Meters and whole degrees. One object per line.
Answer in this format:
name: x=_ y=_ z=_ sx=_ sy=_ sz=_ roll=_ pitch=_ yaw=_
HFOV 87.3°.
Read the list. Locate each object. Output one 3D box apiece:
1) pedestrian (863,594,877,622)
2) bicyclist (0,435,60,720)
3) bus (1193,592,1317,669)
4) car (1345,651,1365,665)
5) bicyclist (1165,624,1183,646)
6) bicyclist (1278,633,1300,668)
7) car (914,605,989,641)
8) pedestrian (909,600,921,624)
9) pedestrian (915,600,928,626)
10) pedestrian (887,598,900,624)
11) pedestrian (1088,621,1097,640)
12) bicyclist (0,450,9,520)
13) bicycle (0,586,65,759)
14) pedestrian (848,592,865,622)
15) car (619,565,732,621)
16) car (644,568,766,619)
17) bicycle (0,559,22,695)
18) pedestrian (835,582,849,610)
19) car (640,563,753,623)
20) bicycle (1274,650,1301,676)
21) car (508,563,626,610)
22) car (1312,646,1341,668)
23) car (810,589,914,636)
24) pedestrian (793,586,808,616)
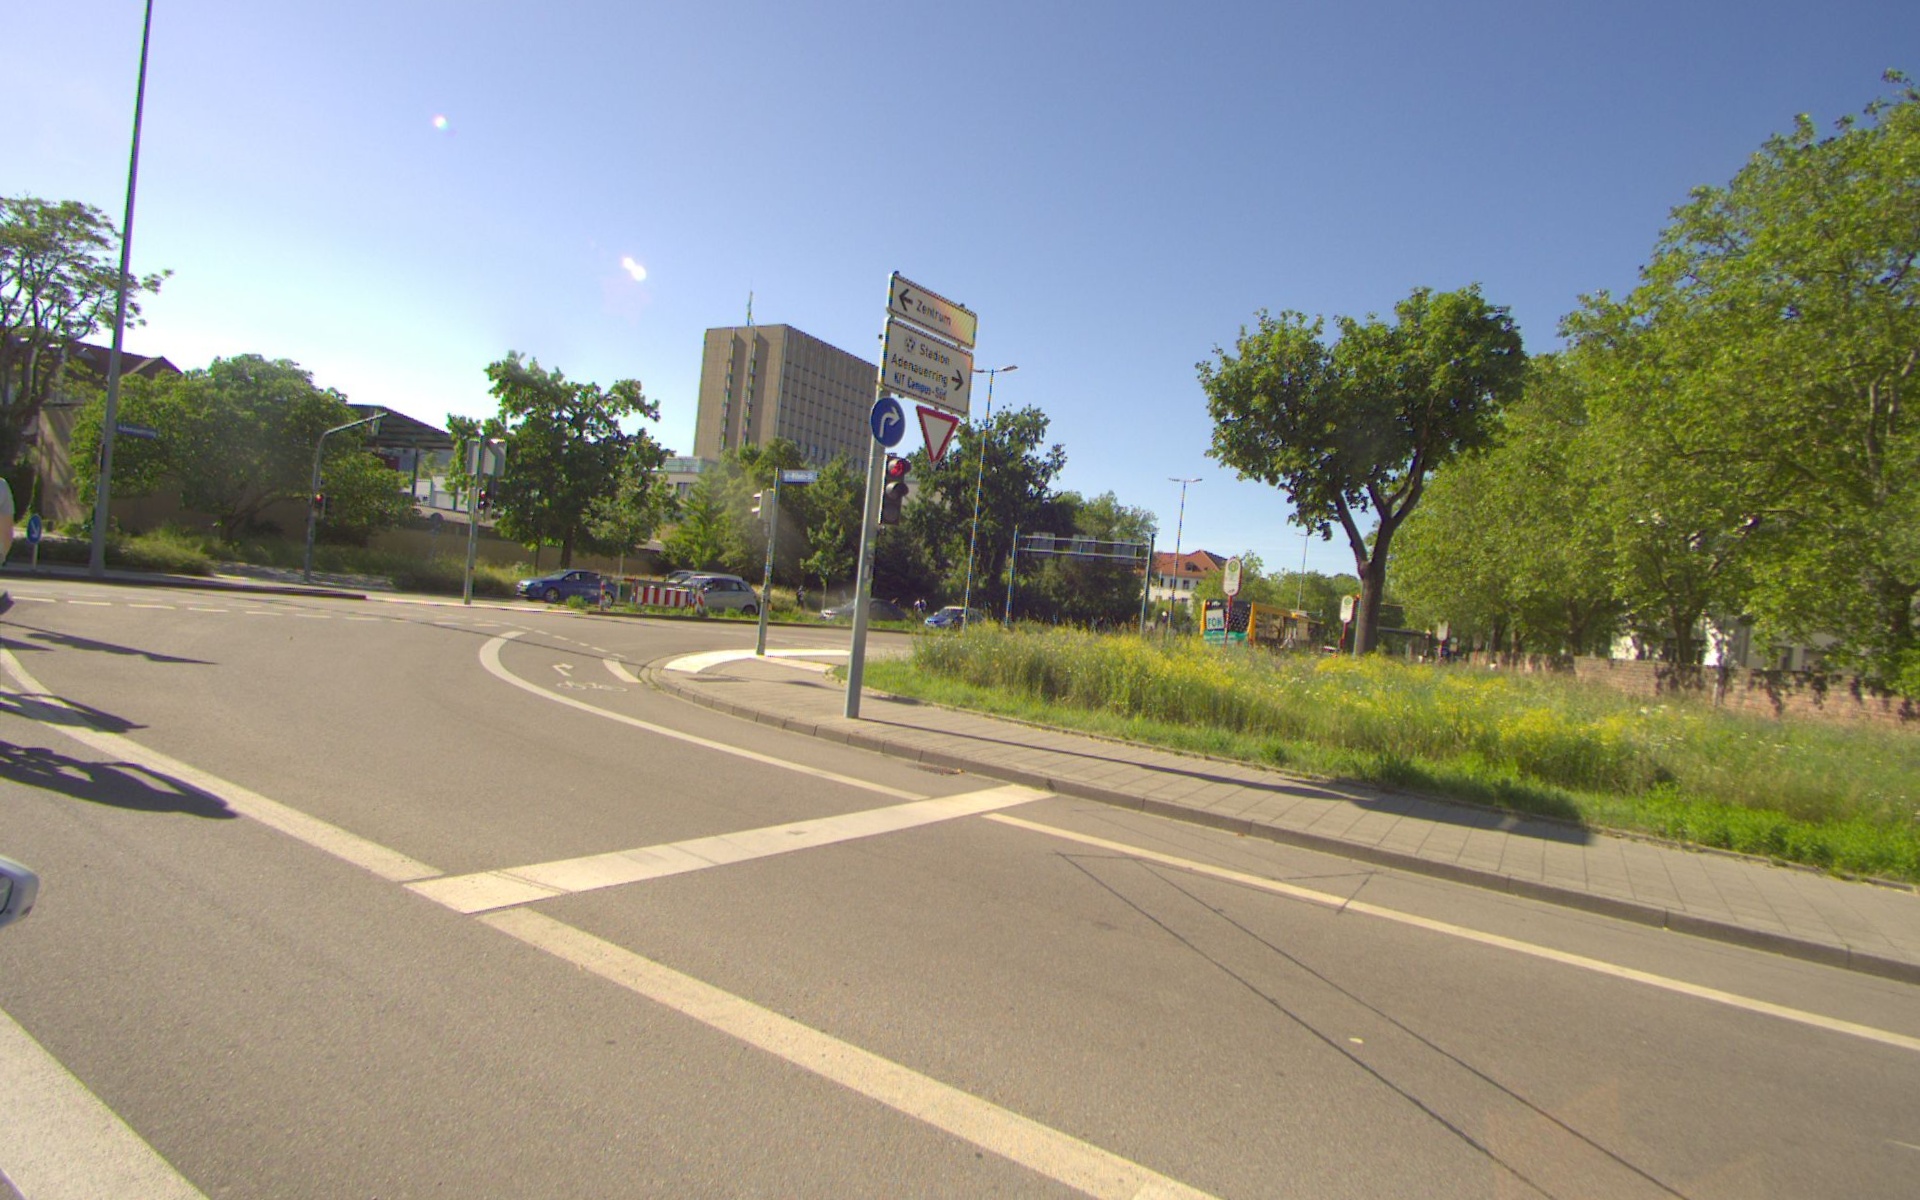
pedestrian: x=-6.079 y=0.519 z=67.918 sx=0.519 sy=1.801 sz=0.561 roll=7 pitch=1 yaw=35
bicyclist: x=-6.219 y=-0.189 z=6.094 sx=1.000 sy=1.688 sz=0.752 roll=6 pitch=-1 yaw=33
bus: x=14.512 y=1.621 z=48.764 sx=2.751 sy=2.662 sz=10.097 roll=6 pitch=-2 yaw=33
car: x=48.546 y=7.140 z=123.580 sx=1.812 sy=1.405 sz=4.066 roll=4 pitch=-2 yaw=27
bicyclist: x=17.129 y=2.783 z=80.353 sx=0.778 sy=1.649 sz=1.315 roll=7 pitch=1 yaw=36
bicyclist: x=13.794 y=2.123 z=42.113 sx=0.509 sy=1.368 sz=1.002 roll=7 pitch=1 yaw=32
car: x=-0.373 y=1.178 z=50.475 sx=1.757 sy=1.448 sz=3.989 roll=6 pitch=0 yaw=33
pedestrian: x=-3.271 y=0.880 z=72.936 sx=0.519 sy=1.716 sz=0.561 roll=7 pitch=1 yaw=35
pedestrian: x=-2.764 y=0.961 z=72.401 sx=0.519 sy=1.801 sz=0.561 roll=7 pitch=1 yaw=35
pedestrian: x=-4.707 y=0.779 z=70.954 sx=0.519 sy=1.801 sz=0.561 roll=7 pitch=1 yaw=35
pedestrian: x=12.749 y=2.920 z=96.897 sx=0.519 sy=1.801 sz=0.562 roll=7 pitch=1 yaw=30
bicyclist: x=-8.133 y=-0.370 z=7.784 sx=1.048 sy=1.759 sz=0.647 roll=7 pitch=-1 yaw=26
bicycle: x=-6.290 y=0.346 z=6.095 sx=1.946 sy=0.906 sz=0.741 roll=6 pitch=-2 yaw=33
pedestrian: x=-6.760 y=0.473 z=65.520 sx=0.702 sy=1.872 sz=0.561 roll=7 pitch=1 yaw=35
car: x=-11.799 y=-0.275 z=41.904 sx=1.972 sy=1.837 sz=3.982 roll=7 pitch=0 yaw=40
car: x=-9.425 y=-0.212 z=37.434 sx=1.840 sy=1.426 sz=4.046 roll=6 pitch=0 yaw=38
bicycle: x=-8.199 y=0.091 z=7.778 sx=1.935 sy=1.014 sz=0.661 roll=6 pitch=-1 yaw=26
pedestrian: x=-7.840 y=-0.282 z=66.912 sx=0.520 sy=1.800 sz=0.561 roll=7 pitch=1 yaw=40
car: x=-12.305 y=-0.273 z=47.334 sx=1.968 sy=2.131 sz=4.885 roll=6 pitch=-2 yaw=34
bicycle: x=13.724 y=2.653 z=42.097 sx=0.509 sy=1.007 sz=2.056 roll=7 pitch=0 yaw=32
car: x=-16.086 y=-0.513 z=41.344 sx=1.717 sy=1.453 sz=4.162 roll=7 pitch=0 yaw=38
car: x=28.884 y=4.488 z=79.262 sx=1.669 sy=1.525 sz=3.771 roll=6 pitch=0 yaw=25
car: x=-4.302 y=0.580 z=44.713 sx=1.968 sy=1.604 sz=4.736 roll=6 pitch=0 yaw=33
pedestrian: x=-9.961 y=0.090 z=62.772 sx=0.519 sy=1.801 sz=0.561 roll=7 pitch=1 yaw=36
